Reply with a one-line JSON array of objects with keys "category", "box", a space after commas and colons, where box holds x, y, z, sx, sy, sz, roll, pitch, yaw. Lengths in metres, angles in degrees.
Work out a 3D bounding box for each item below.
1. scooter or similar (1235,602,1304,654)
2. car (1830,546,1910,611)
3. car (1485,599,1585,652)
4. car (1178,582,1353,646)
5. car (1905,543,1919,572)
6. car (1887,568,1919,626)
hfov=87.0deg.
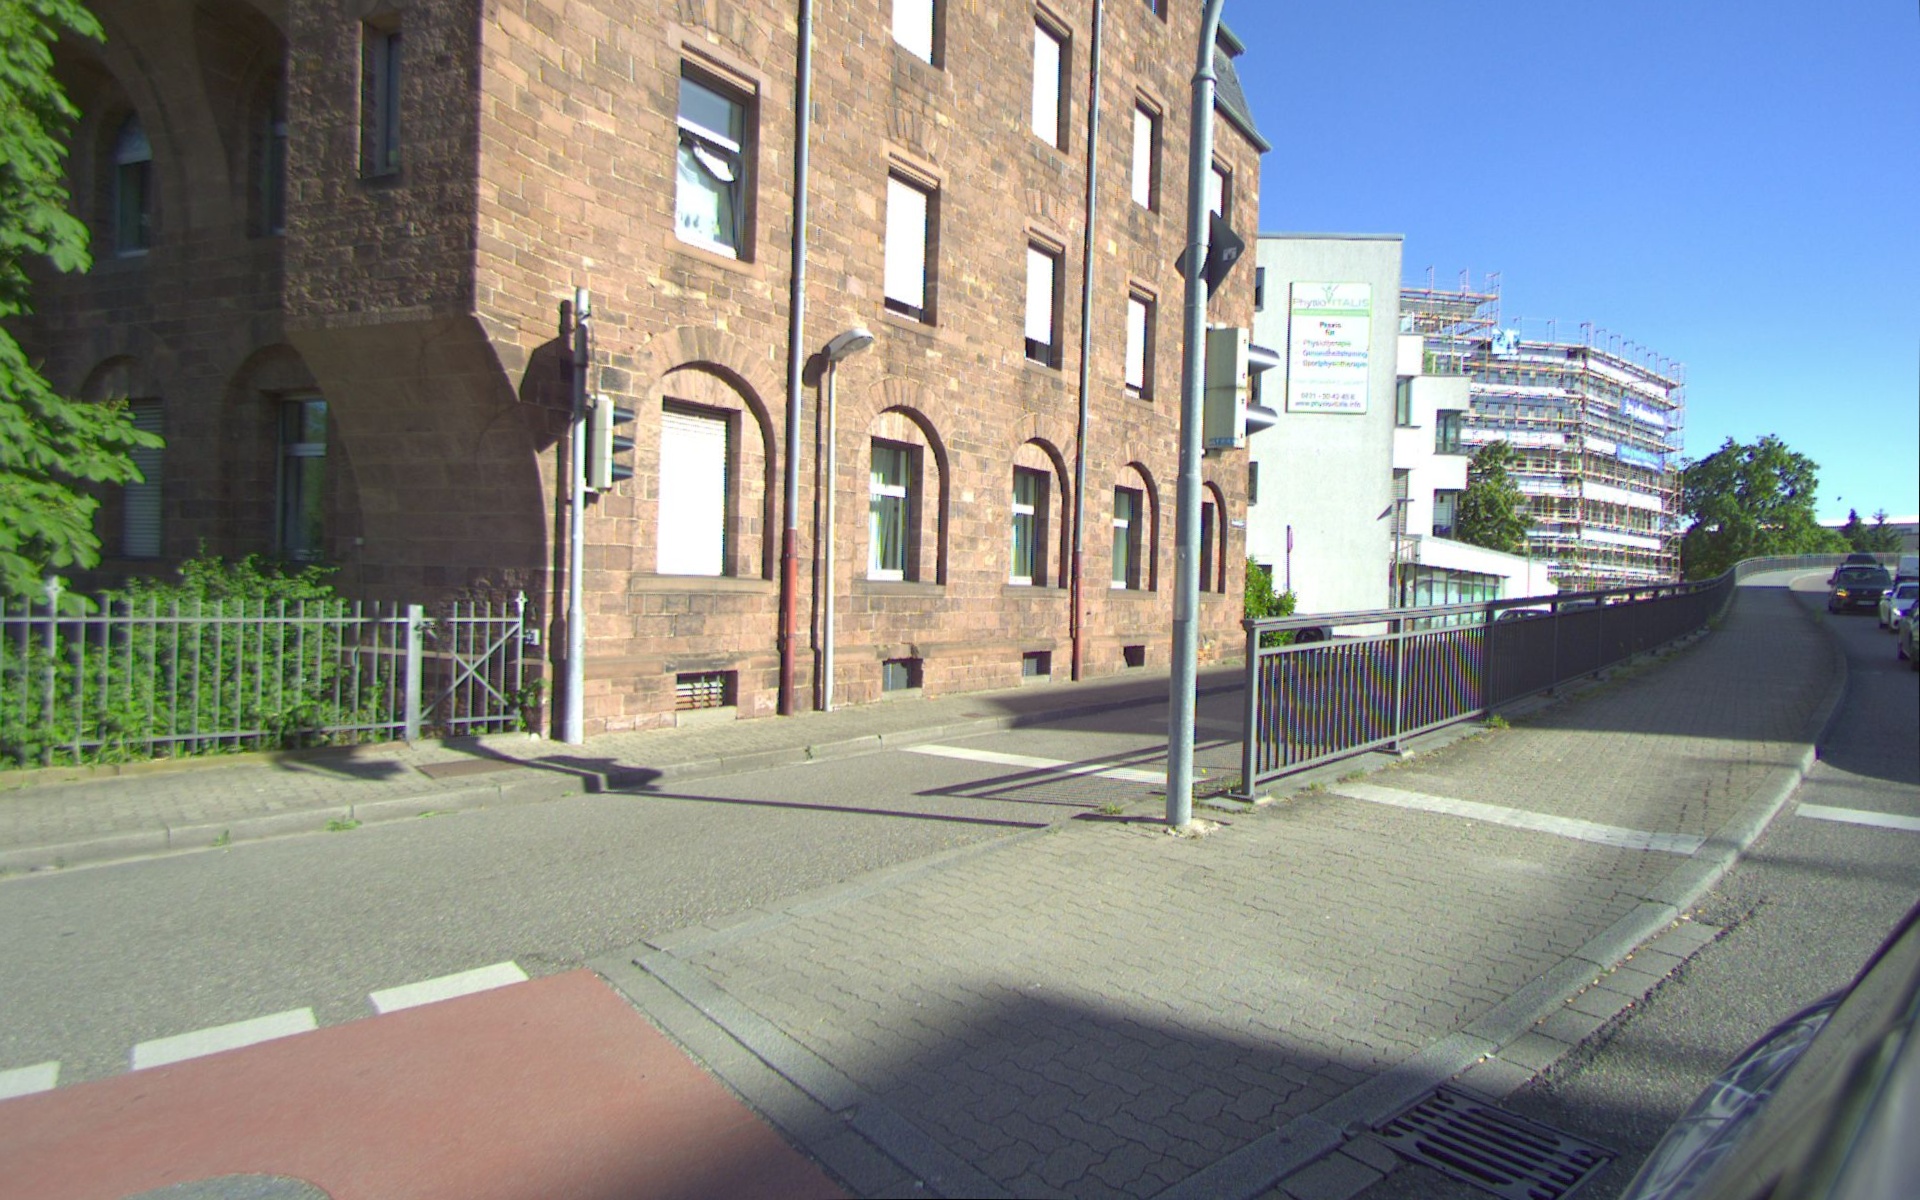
[{"category": "scooter or similar", "box": [7.603, 0.668, 24.867, 1.453, 1.234, 0.775, -1, -1, 36]}, {"category": "car", "box": [34.387, -0.877, 38.347, 1.901, 2.240, 4.538, 1, 3, 38]}, {"category": "car", "box": [18.884, 0.763, 33.161, 1.844, 1.448, 4.611, 1, 3, 43]}, {"category": "car", "box": [8.831, 0.385, 29.540, 4.563, 1.789, 1.828, 0, 2, 2]}, {"category": "car", "box": [66.380, -2.891, 69.657, 1.810, 1.823, 5.042, 3, 2, 42]}, {"category": "car", "box": [27.787, -0.131, 28.656, 1.840, 1.554, 4.448, 1, 2, 38]}]
